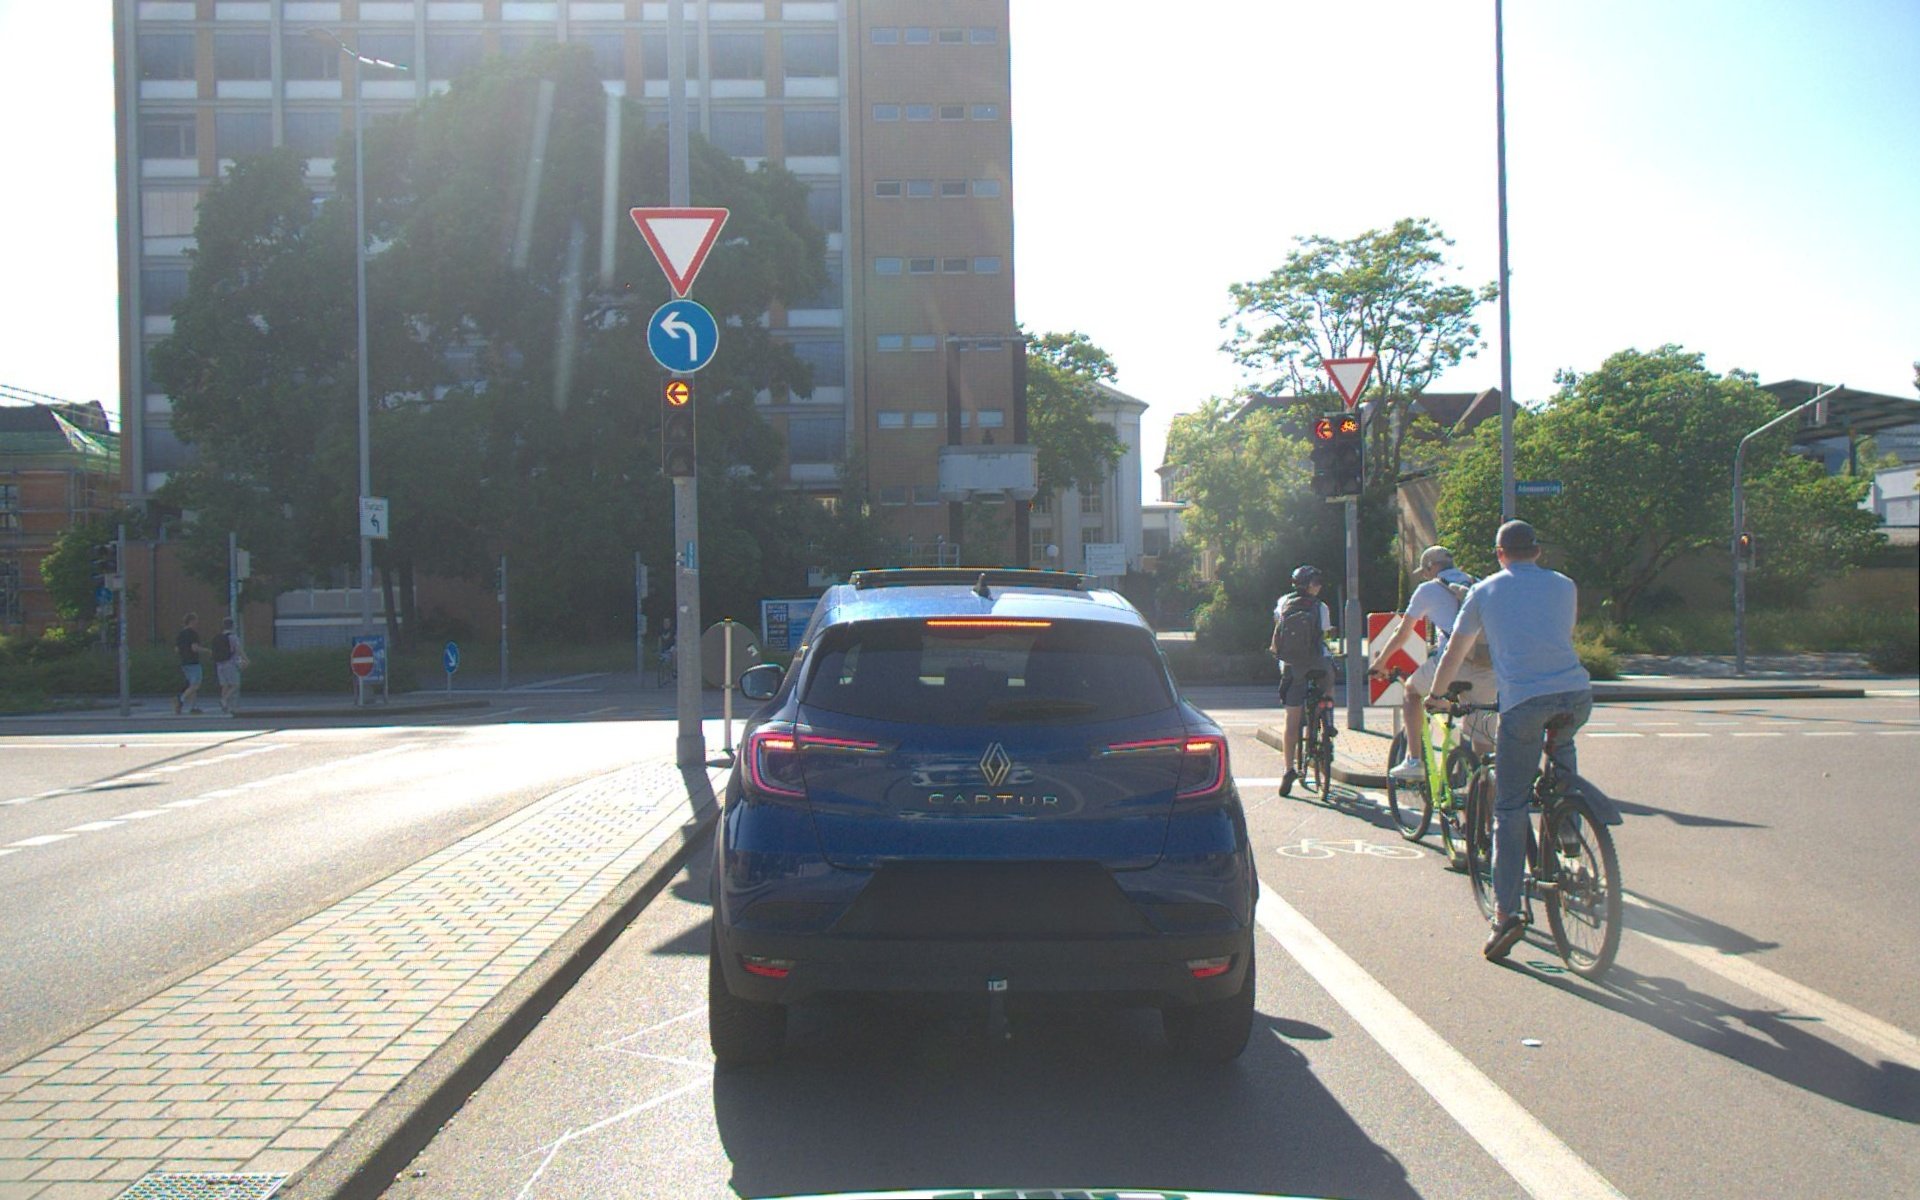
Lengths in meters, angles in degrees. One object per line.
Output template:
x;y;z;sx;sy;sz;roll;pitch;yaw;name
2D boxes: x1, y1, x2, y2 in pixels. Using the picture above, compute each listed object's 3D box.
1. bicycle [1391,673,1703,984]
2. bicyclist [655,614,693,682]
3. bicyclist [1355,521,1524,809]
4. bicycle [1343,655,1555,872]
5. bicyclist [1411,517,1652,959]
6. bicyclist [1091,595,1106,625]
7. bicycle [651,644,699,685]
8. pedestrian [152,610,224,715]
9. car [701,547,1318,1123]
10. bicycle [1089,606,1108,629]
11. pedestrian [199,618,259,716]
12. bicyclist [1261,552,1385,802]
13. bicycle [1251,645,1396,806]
2.510;0.921;7.321;0.675;1.108;1.922;0;0;-1;bicycle
-7.541;1.257;43.664;0.739;1.746;0.999;-1;0;5;bicyclist
2.844;0.368;9.911;0.664;1.622;1.142;0;0;-1;bicyclist
2.857;0.911;9.868;0.675;1.108;1.922;0;0;-1;bicycle
2.515;0.570;7.399;0.669;1.822;1.142;0;0;-1;bicyclist
7.080;0.508;84.499;0.680;1.507;0.717;-1;0;-1;bicyclist
-7.523;1.699;43.768;0.739;1.002;2.095;-1;0;5;bicycle
-14.358;1.154;30.783;0.796;1.895;0.910;-1;0;13;pedestrian
0.060;0.664;6.642;1.753;1.613;3.912;0;0;-3;car
7.072;0.898;84.766;0.680;1.160;2.440;-1;0;-1;bicycle
-13.505;1.227;30.567;0.666;1.761;0.761;-1;0;13;pedestrian
2.751;0.562;12.632;0.685;1.822;1.142;0;0;-1;bicyclist
2.779;0.928;12.834;0.675;1.108;1.922;0;0;-1;bicycle
